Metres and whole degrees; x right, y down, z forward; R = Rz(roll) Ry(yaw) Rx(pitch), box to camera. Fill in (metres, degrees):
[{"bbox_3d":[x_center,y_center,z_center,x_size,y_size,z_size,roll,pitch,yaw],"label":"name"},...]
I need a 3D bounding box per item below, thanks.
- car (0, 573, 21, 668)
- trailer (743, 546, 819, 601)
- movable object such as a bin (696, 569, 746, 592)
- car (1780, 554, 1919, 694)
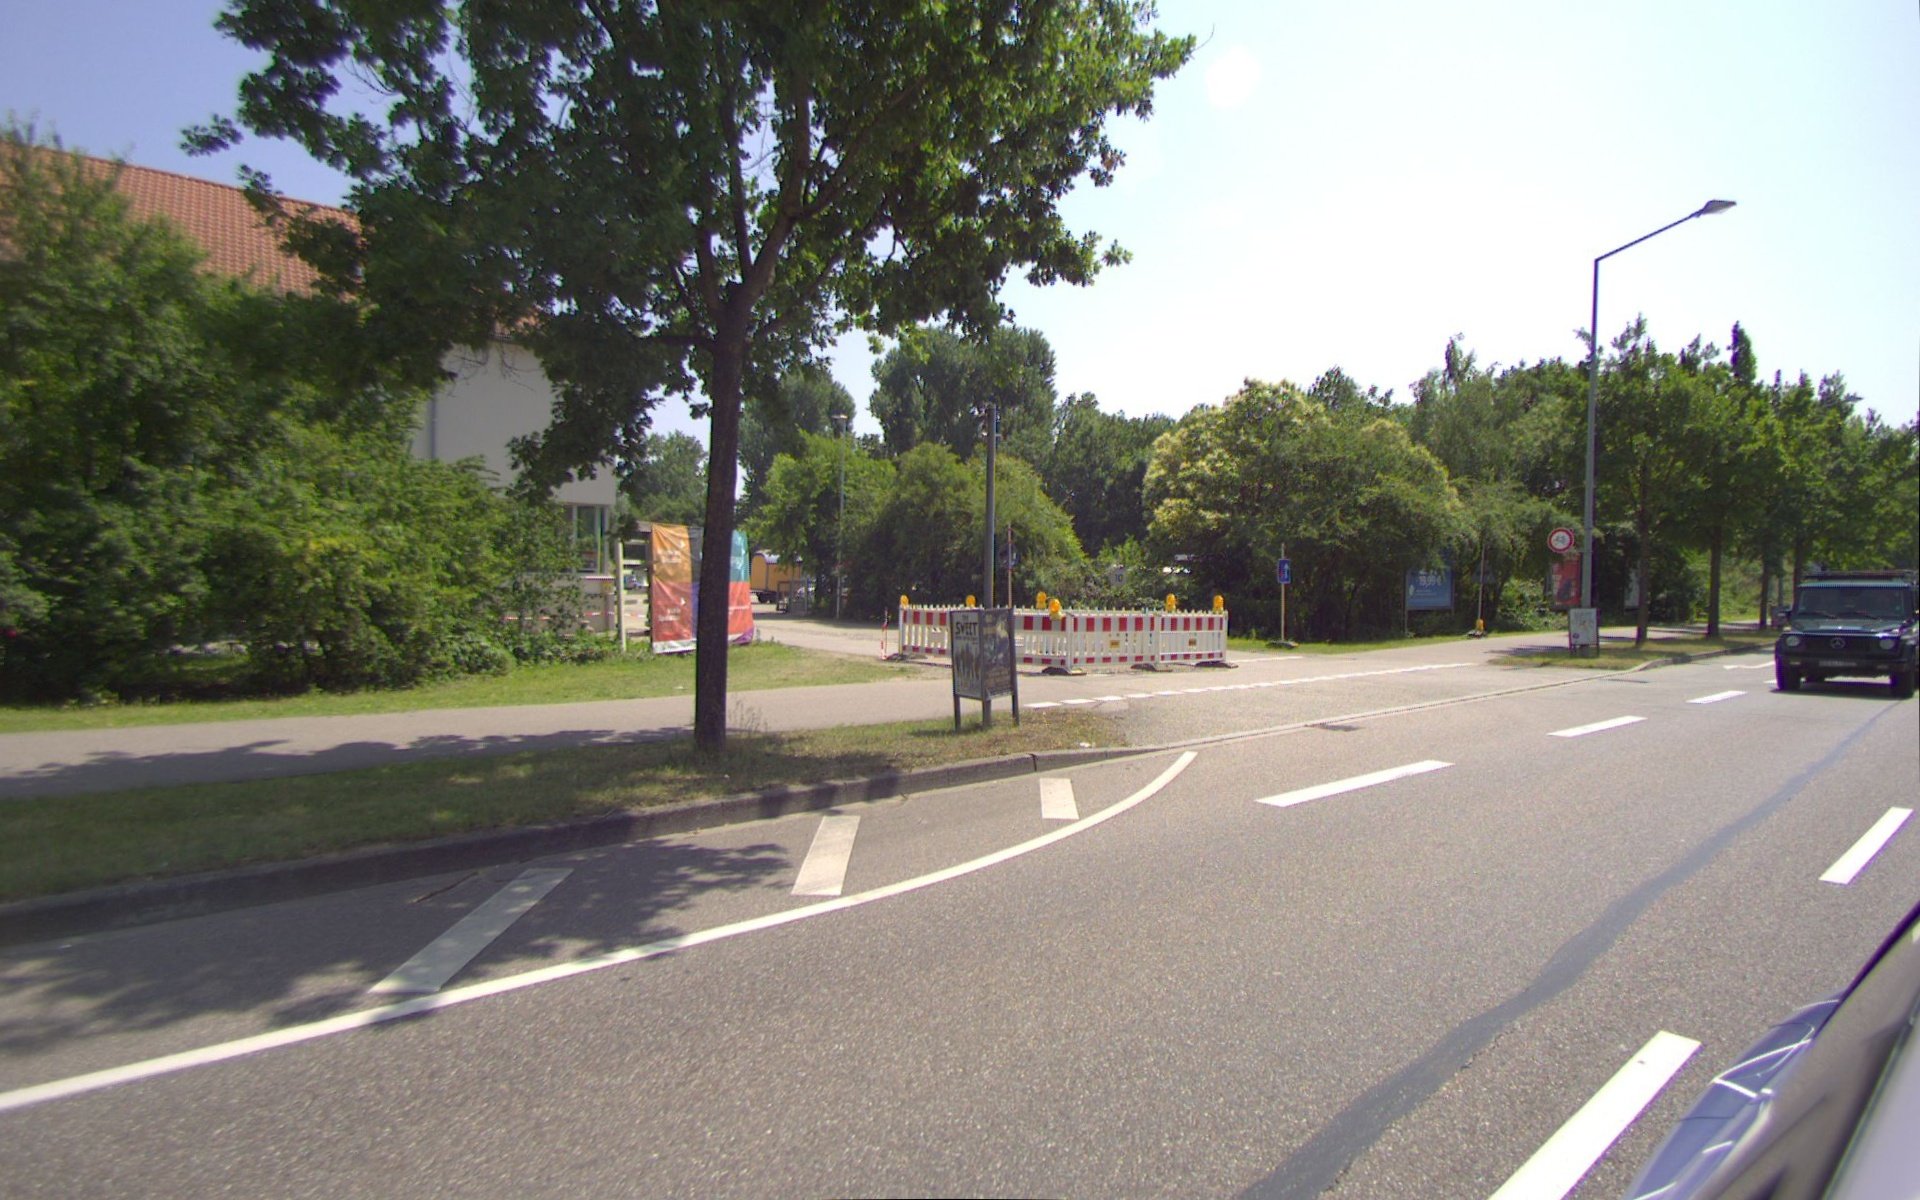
[{"bbox_3d":[-17.726,0.392,16.260,1.842,1.682,4.005,1,1,-6],"label":"car"},{"bbox_3d":[-11.421,-1.683,64.565,3.927,3.372,2.718,0,1,-38],"label":"trailer"},{"bbox_3d":[-18.131,-1.500,76.750,3.194,1.680,2.180,0,1,-28],"label":"movable object such as a bin"},{"bbox_3d":[16.067,0.333,17.918,4.482,2.180,1.839,-1,2,-44],"label":"car"}]
